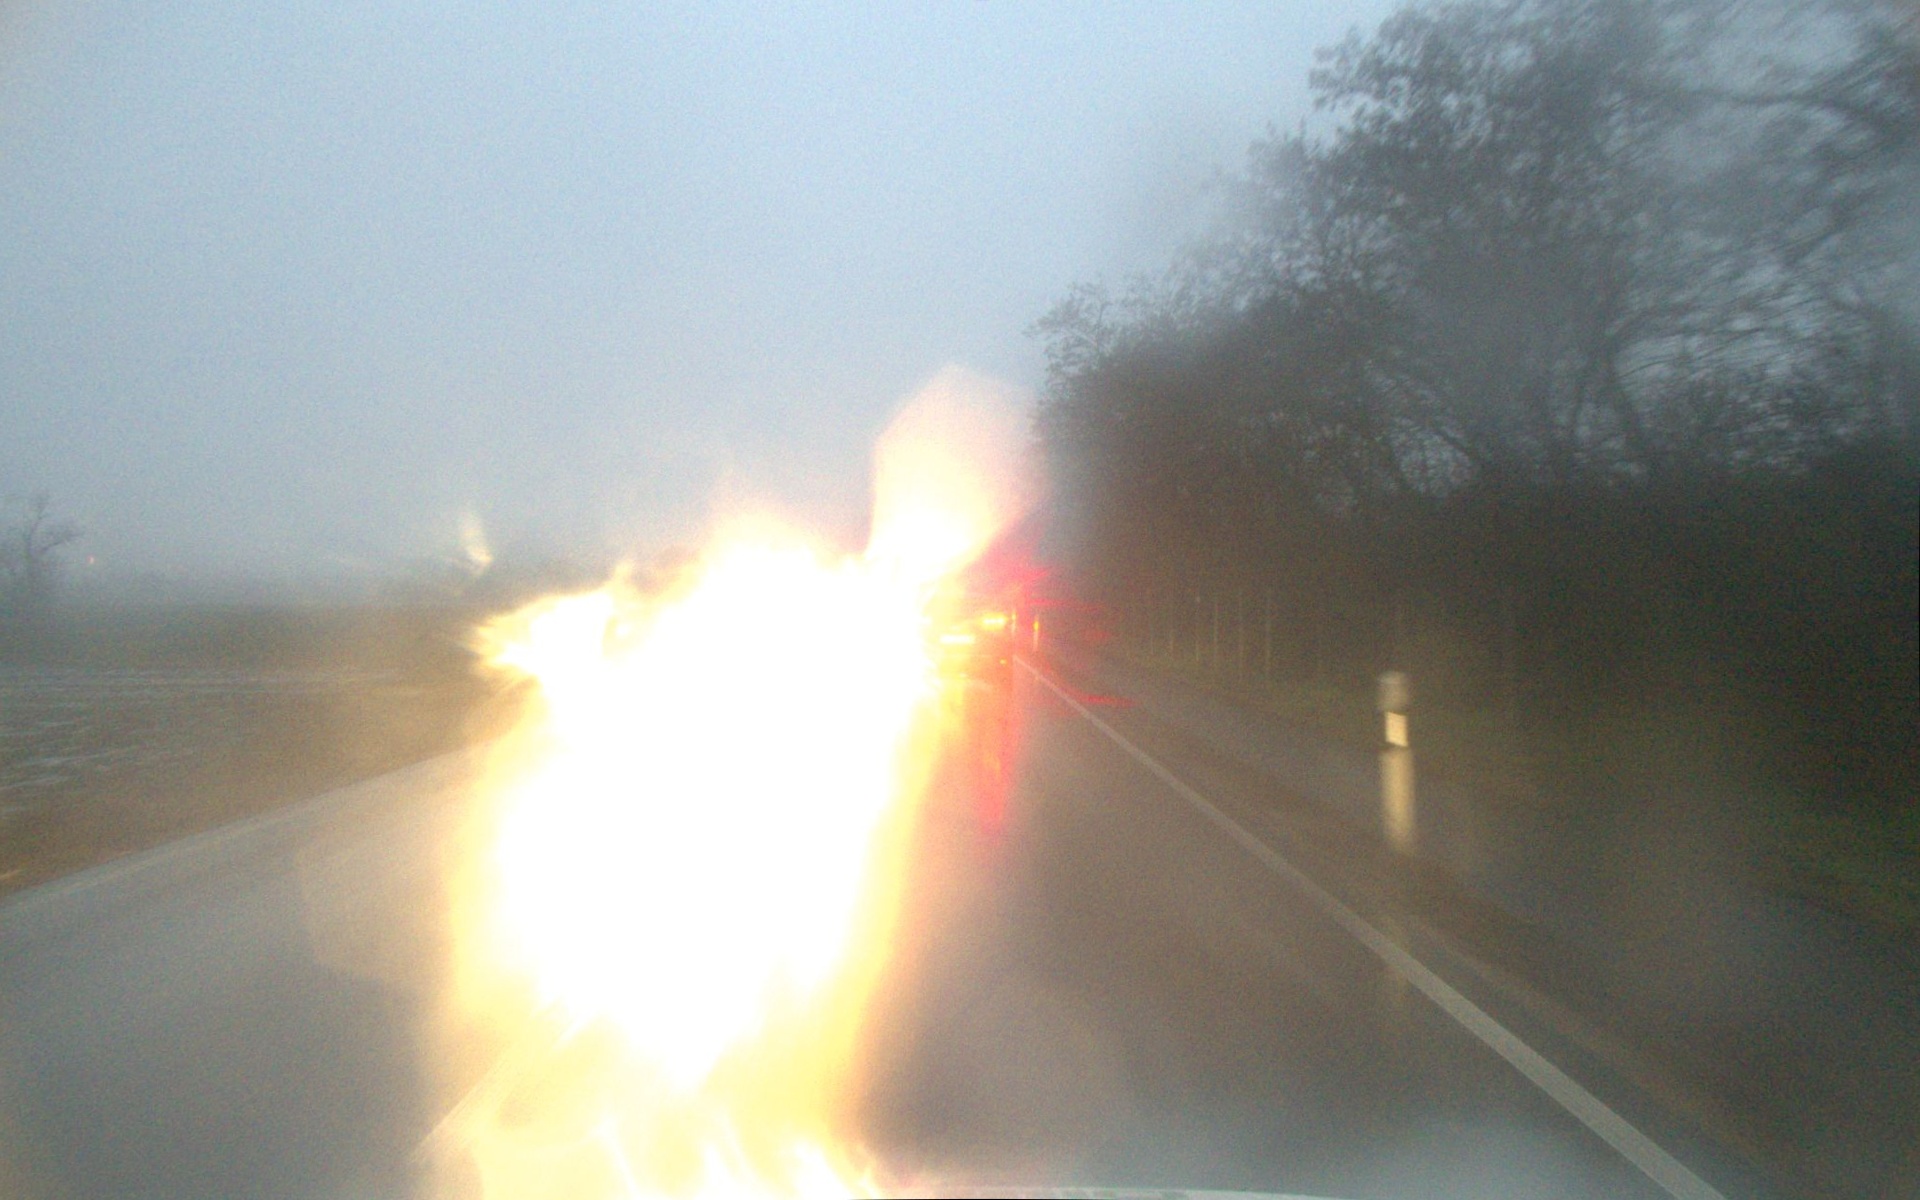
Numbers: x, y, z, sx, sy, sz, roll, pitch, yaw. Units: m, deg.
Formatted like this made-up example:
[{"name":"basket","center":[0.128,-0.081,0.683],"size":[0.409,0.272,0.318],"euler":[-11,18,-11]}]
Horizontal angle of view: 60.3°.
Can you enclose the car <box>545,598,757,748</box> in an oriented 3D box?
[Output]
[{"name":"car","center":[-3.387,0.739,18.833],"size":[1.693,1.438,4.022],"euler":[-3,0,-2]}]

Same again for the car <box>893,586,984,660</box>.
[{"name":"car","center":[-0.619,0.654,49.821],"size":[2.539,2.049,5.804],"euler":[1,0,0]}]

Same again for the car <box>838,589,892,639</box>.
[{"name":"car","center":[-3.766,0.528,66.240],"size":[1.953,1.854,3.999],"euler":[-2,0,-1]}]

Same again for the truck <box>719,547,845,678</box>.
[{"name":"truck","center":[-4.062,0.259,39.004],"size":[2.224,2.680,7.032],"euler":[-3,0,-1]}]

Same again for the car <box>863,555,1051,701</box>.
[{"name":"car","center":[-0.045,0.416,27.496],"size":[2.762,2.113,5.804],"euler":[1,0,0]}]
